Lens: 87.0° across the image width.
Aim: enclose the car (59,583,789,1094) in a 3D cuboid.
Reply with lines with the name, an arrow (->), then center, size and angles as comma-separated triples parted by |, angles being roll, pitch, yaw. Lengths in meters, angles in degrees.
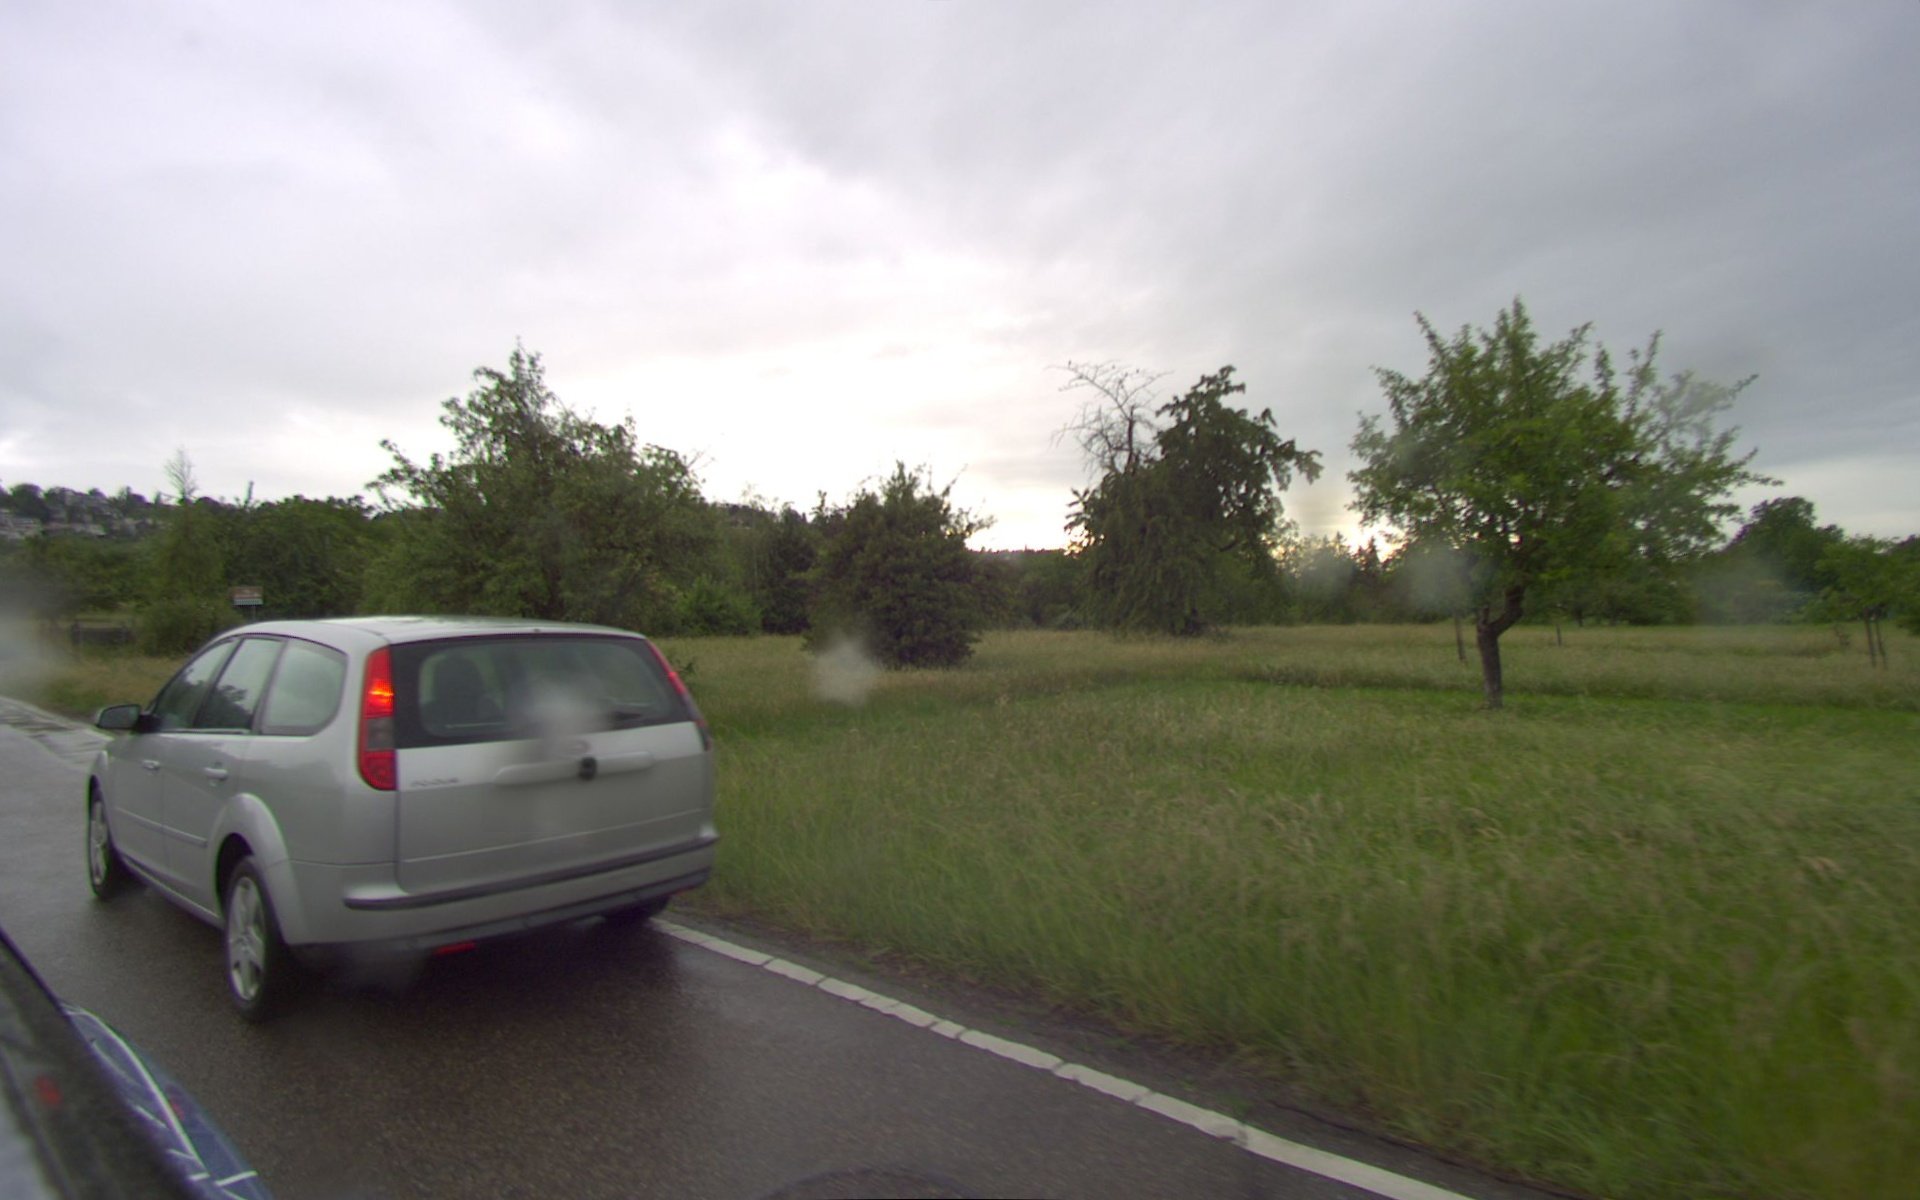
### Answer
car -> -2.851, 0.695, 4.940 | 4.119, 1.482, 1.722 | 0, 1, 40
